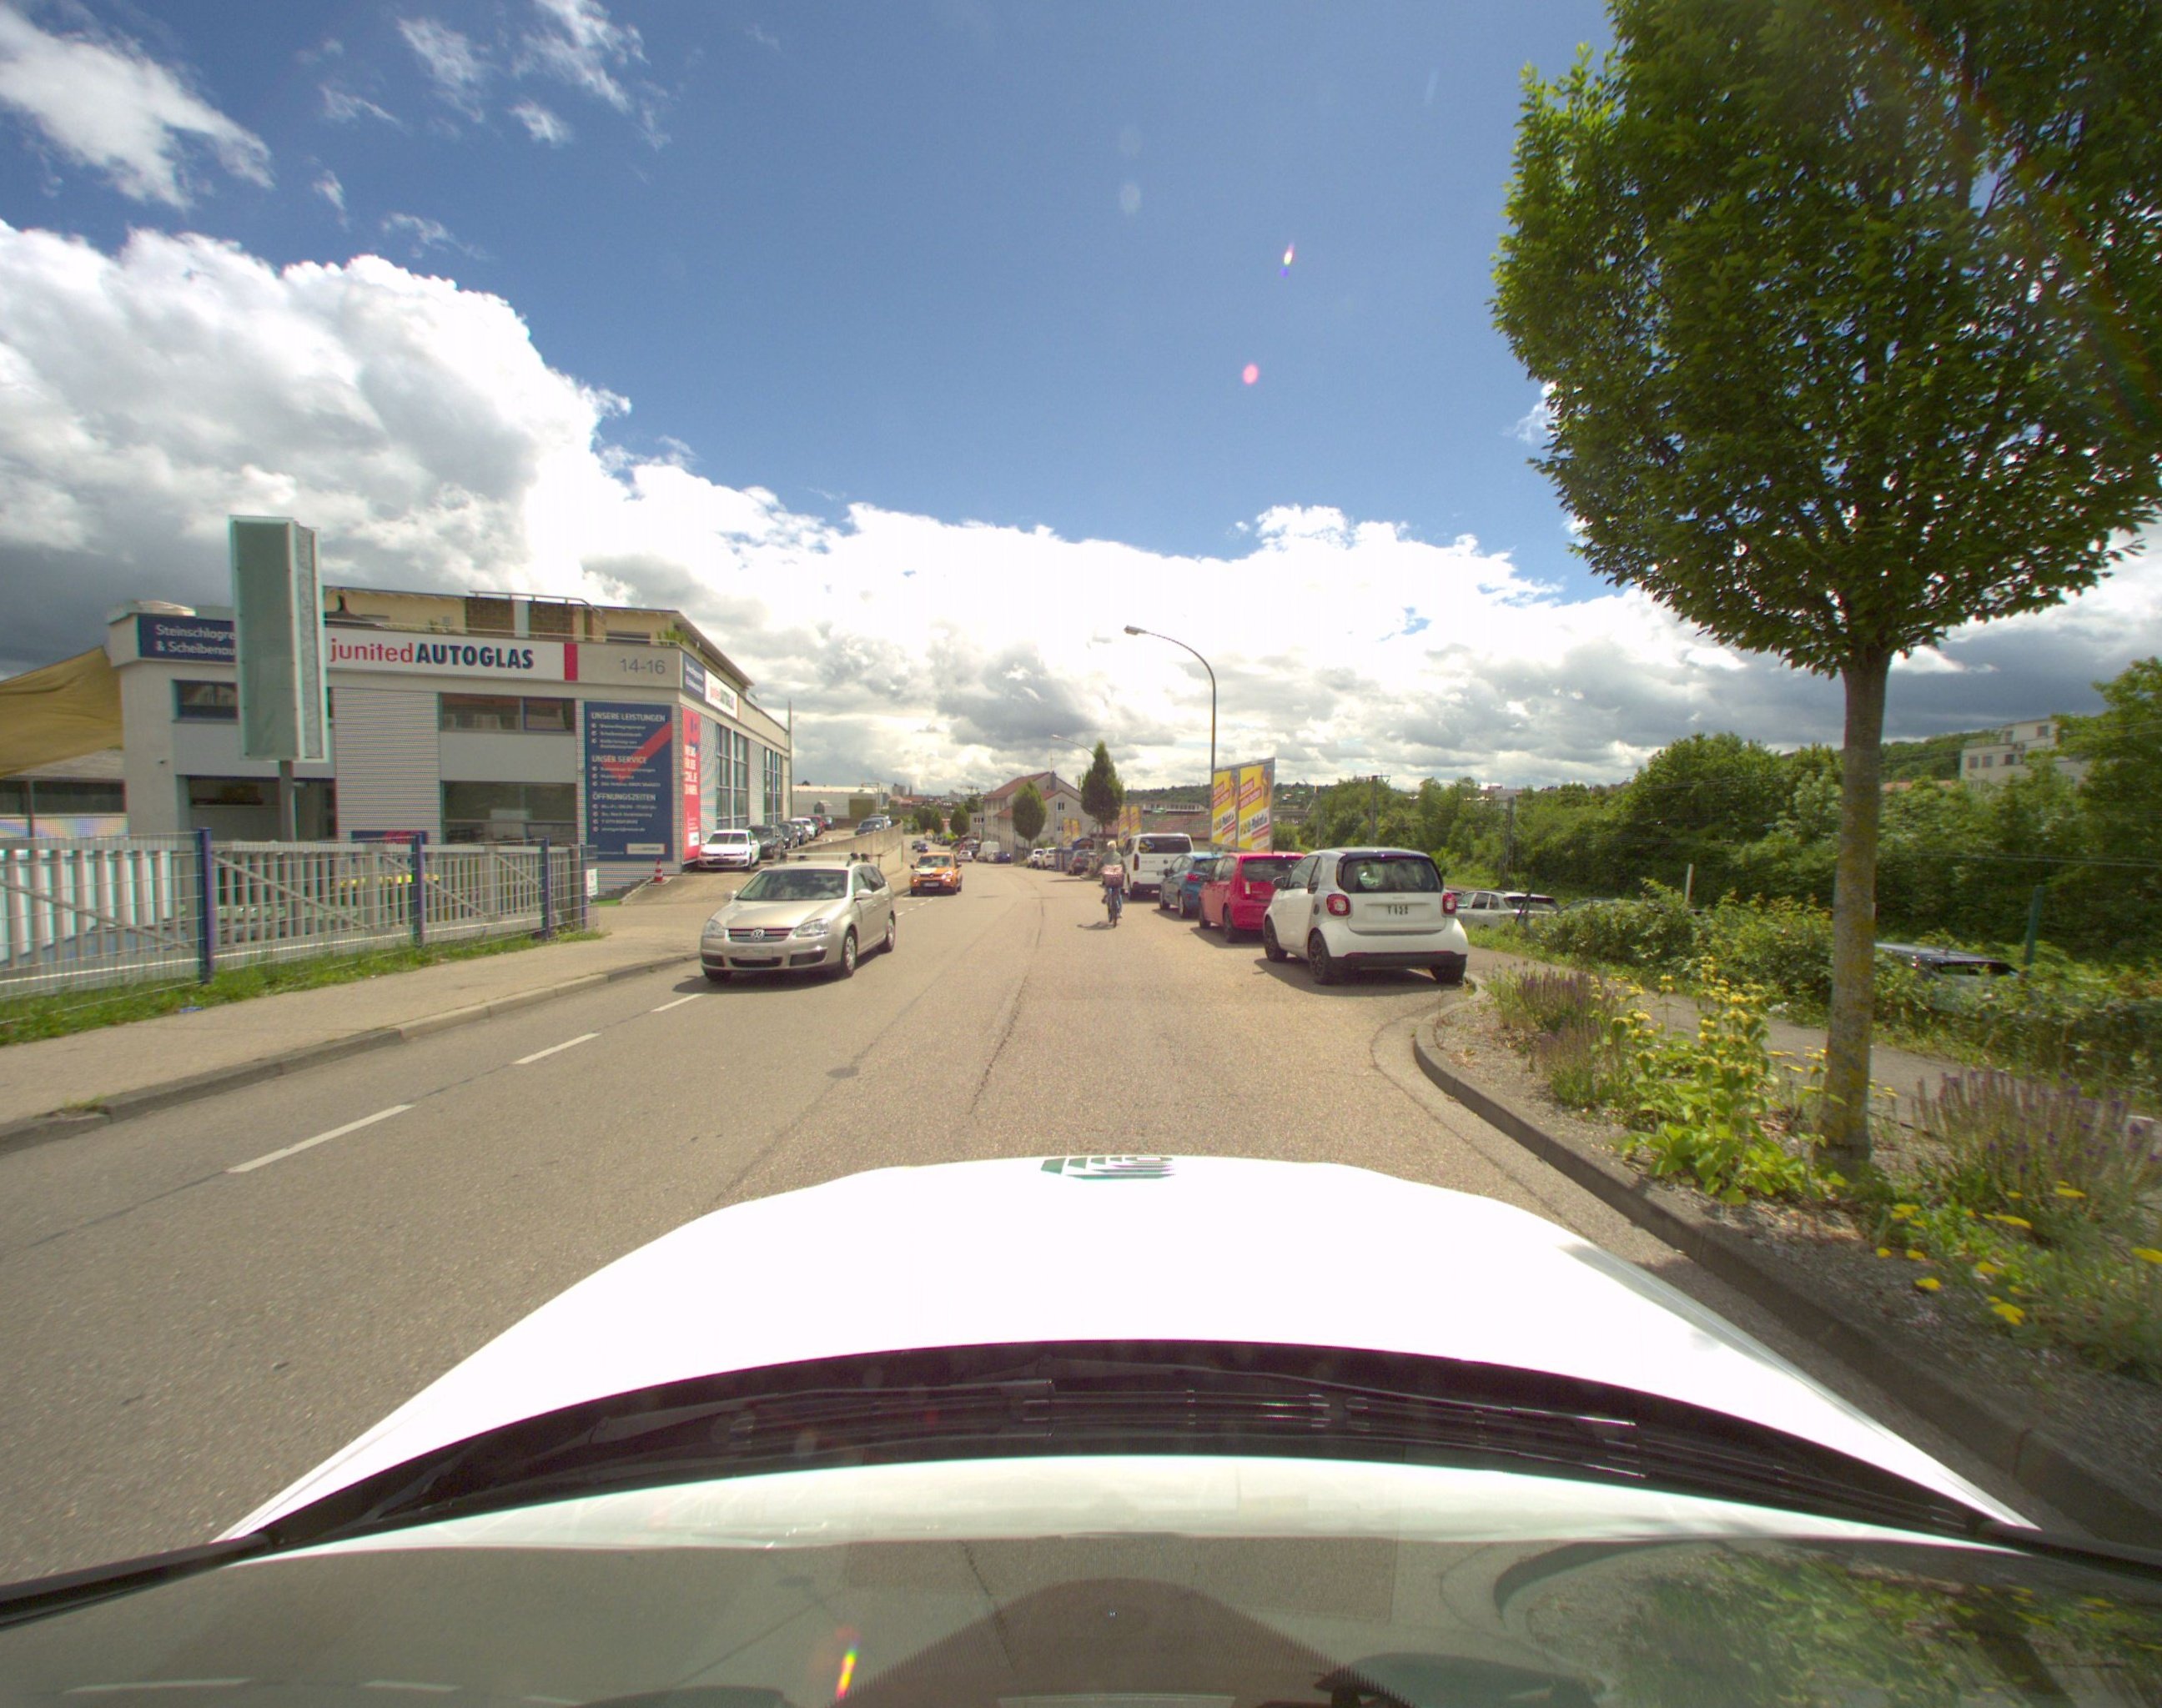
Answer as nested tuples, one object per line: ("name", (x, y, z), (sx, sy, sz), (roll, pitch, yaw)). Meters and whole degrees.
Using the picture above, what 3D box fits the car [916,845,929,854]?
("car", (-27.424, -0.793, 140.883), (1.993, 1.420, 3.988), (-1, 0, -8))

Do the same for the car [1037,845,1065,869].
("car", (-2.373, 0.218, 62.738), (1.811, 1.706, 3.991), (-1, 0, -7))

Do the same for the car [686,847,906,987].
("car", (-3.684, 0.699, 11.369), (1.698, 1.562, 4.323), (-1, 0, -3))

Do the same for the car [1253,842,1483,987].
("car", (3.384, 0.640, 10.177), (1.788, 1.506, 2.904), (-1, 0, -1))

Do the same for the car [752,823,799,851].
("car", (-15.790, -0.840, 42.215), (1.722, 1.323, 3.702), (-1, 0, -12))

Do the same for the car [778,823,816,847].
("car", (-16.775, -1.095, 48.215), (1.672, 1.323, 3.702), (-1, 0, -12))

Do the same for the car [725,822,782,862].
("car", (-14.420, -0.509, 36.035), (1.697, 1.629, 3.702), (-1, 0, -12))

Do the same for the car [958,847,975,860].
("car", (-14.608, -0.039, 103.901), (1.994, 1.618, 3.986), (-1, 0, -10))

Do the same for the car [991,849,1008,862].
("car", (-9.945, 0.194, 98.930), (1.991, 1.464, 3.991), (-1, 0, -6))

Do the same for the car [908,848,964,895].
("car", (-5.338, 0.606, 30.415), (1.706, 1.574, 3.992), (-1, 0, -6))

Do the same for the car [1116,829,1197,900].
("car", (2.275, 0.291, 25.856), (1.988, 2.013, 4.915), (1, 0, -2))

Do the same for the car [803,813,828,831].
("car", (-22.364, -2.696, 68.682), (1.672, 1.323, 3.702), (-1, 0, -12))

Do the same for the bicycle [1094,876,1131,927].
("bicycle", (0.632, 0.940, 16.663), (0.685, 0.878, 2.103), (-1, 0, 2))

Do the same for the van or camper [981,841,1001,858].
("van or camper", (-11.483, -0.600, 103.695), (1.995, 2.013, 3.984), (2, 0, -12))

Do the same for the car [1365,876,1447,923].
("car", (11.972, 1.639, 30.252), (1.614, 1.506, 3.578), (-1, 0, 0))

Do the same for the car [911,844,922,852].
("car", (-31.240, -1.192, 154.903), (1.995, 1.420, 3.984), (-1, 0, -12))

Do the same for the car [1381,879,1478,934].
("car", (11.266, 1.648, 26.569), (1.614, 1.506, 3.578), (-1, 0, 0))

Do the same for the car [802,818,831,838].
("car", (-19.376, -1.877, 59.738), (1.672, 1.323, 3.702), (-1, 0, -12))

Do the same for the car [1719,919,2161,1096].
("car", (10.744, 1.796, 10.644), (1.787, 1.506, 3.879), (-1, 0, 0))

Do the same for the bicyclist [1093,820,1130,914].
("bicyclist", (0.614, 0.252, 16.572), (0.682, 1.825, 1.081), (-1, 0, 2))

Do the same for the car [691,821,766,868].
("car", (-13.370, -0.337, 31.101), (1.849, 1.650, 3.983), (-1, 0, -12))

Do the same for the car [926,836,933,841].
("car", (-44.078, -4.484, 237.104), (1.995, 1.420, 3.984), (-1, 0, -12))

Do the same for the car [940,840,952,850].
("car", (-29.787, -2.058, 179.565), (1.997, 2.013, 3.980), (2, 0, -15))

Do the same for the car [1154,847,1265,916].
("car", (2.902, 0.581, 19.178), (1.899, 1.442, 3.540), (-1, 0, -3))

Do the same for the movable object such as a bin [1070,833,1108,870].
("movable object such as a bin", (0.496, -0.137, 53.186), (2.132, 2.302, 2.552), (-1, 0, -7))

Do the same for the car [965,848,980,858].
("car", (-16.065, -0.167, 120.047), (1.994, 1.464, 3.985), (-1, 0, -11))

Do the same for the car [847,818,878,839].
("car", (-14.424, -1.705, 53.864), (1.670, 1.323, 3.706), (0, 3, -10))

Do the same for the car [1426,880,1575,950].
("car", (11.177, 1.553, 22.099), (1.787, 1.506, 4.441), (-1, 0, 0))

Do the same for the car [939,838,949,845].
("car", (-30.896, -2.779, 183.895), (1.995, 1.420, 3.984), (-1, 0, -12))

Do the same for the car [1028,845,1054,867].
("car", (-3.400, 0.144, 68.493), (1.841, 1.706, 3.991), (-1, 0, -7))

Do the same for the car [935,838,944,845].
("car", (-33.679, -2.943, 193.419), (1.995, 1.420, 3.984), (-1, 0, -12))

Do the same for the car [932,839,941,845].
("car", (-36.522, -3.120, 205.413), (1.995, 1.420, 3.984), (-1, 0, -12))

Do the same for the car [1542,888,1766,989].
("car", (10.982, 1.537, 15.979), (1.682, 1.506, 3.879), (-1, 0, 0))

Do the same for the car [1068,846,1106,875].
("car", (0.317, 0.346, 48.573), (1.989, 1.618, 3.996), (-1, 0, -3))

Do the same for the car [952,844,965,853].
("car", (-20.793, -0.848, 137.738), (1.994, 1.464, 3.985), (-1, 0, -11))

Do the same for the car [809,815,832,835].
("car", (-24.430, -2.674, 76.436), (1.704, 1.729, 3.501), (2, 0, -13))

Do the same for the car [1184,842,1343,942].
("car", (3.109, 0.578, 14.720), (1.870, 1.508, 3.998), (-1, 0, -1))

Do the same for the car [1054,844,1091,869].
("car", (-0.655, 0.167, 57.322), (2.132, 1.706, 3.991), (-1, 0, -7))

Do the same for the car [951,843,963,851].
("car", (-23.362, -1.335, 153.599), (1.995, 1.420, 3.984), (-1, 0, -12))

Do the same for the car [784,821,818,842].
("car", (-18.788, -1.500, 54.749), (1.672, 1.323, 3.702), (-1, 0, -12))

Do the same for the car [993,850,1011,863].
("car", (-9.143, 0.248, 94.588), (1.991, 1.464, 3.991), (-1, 0, -6))
